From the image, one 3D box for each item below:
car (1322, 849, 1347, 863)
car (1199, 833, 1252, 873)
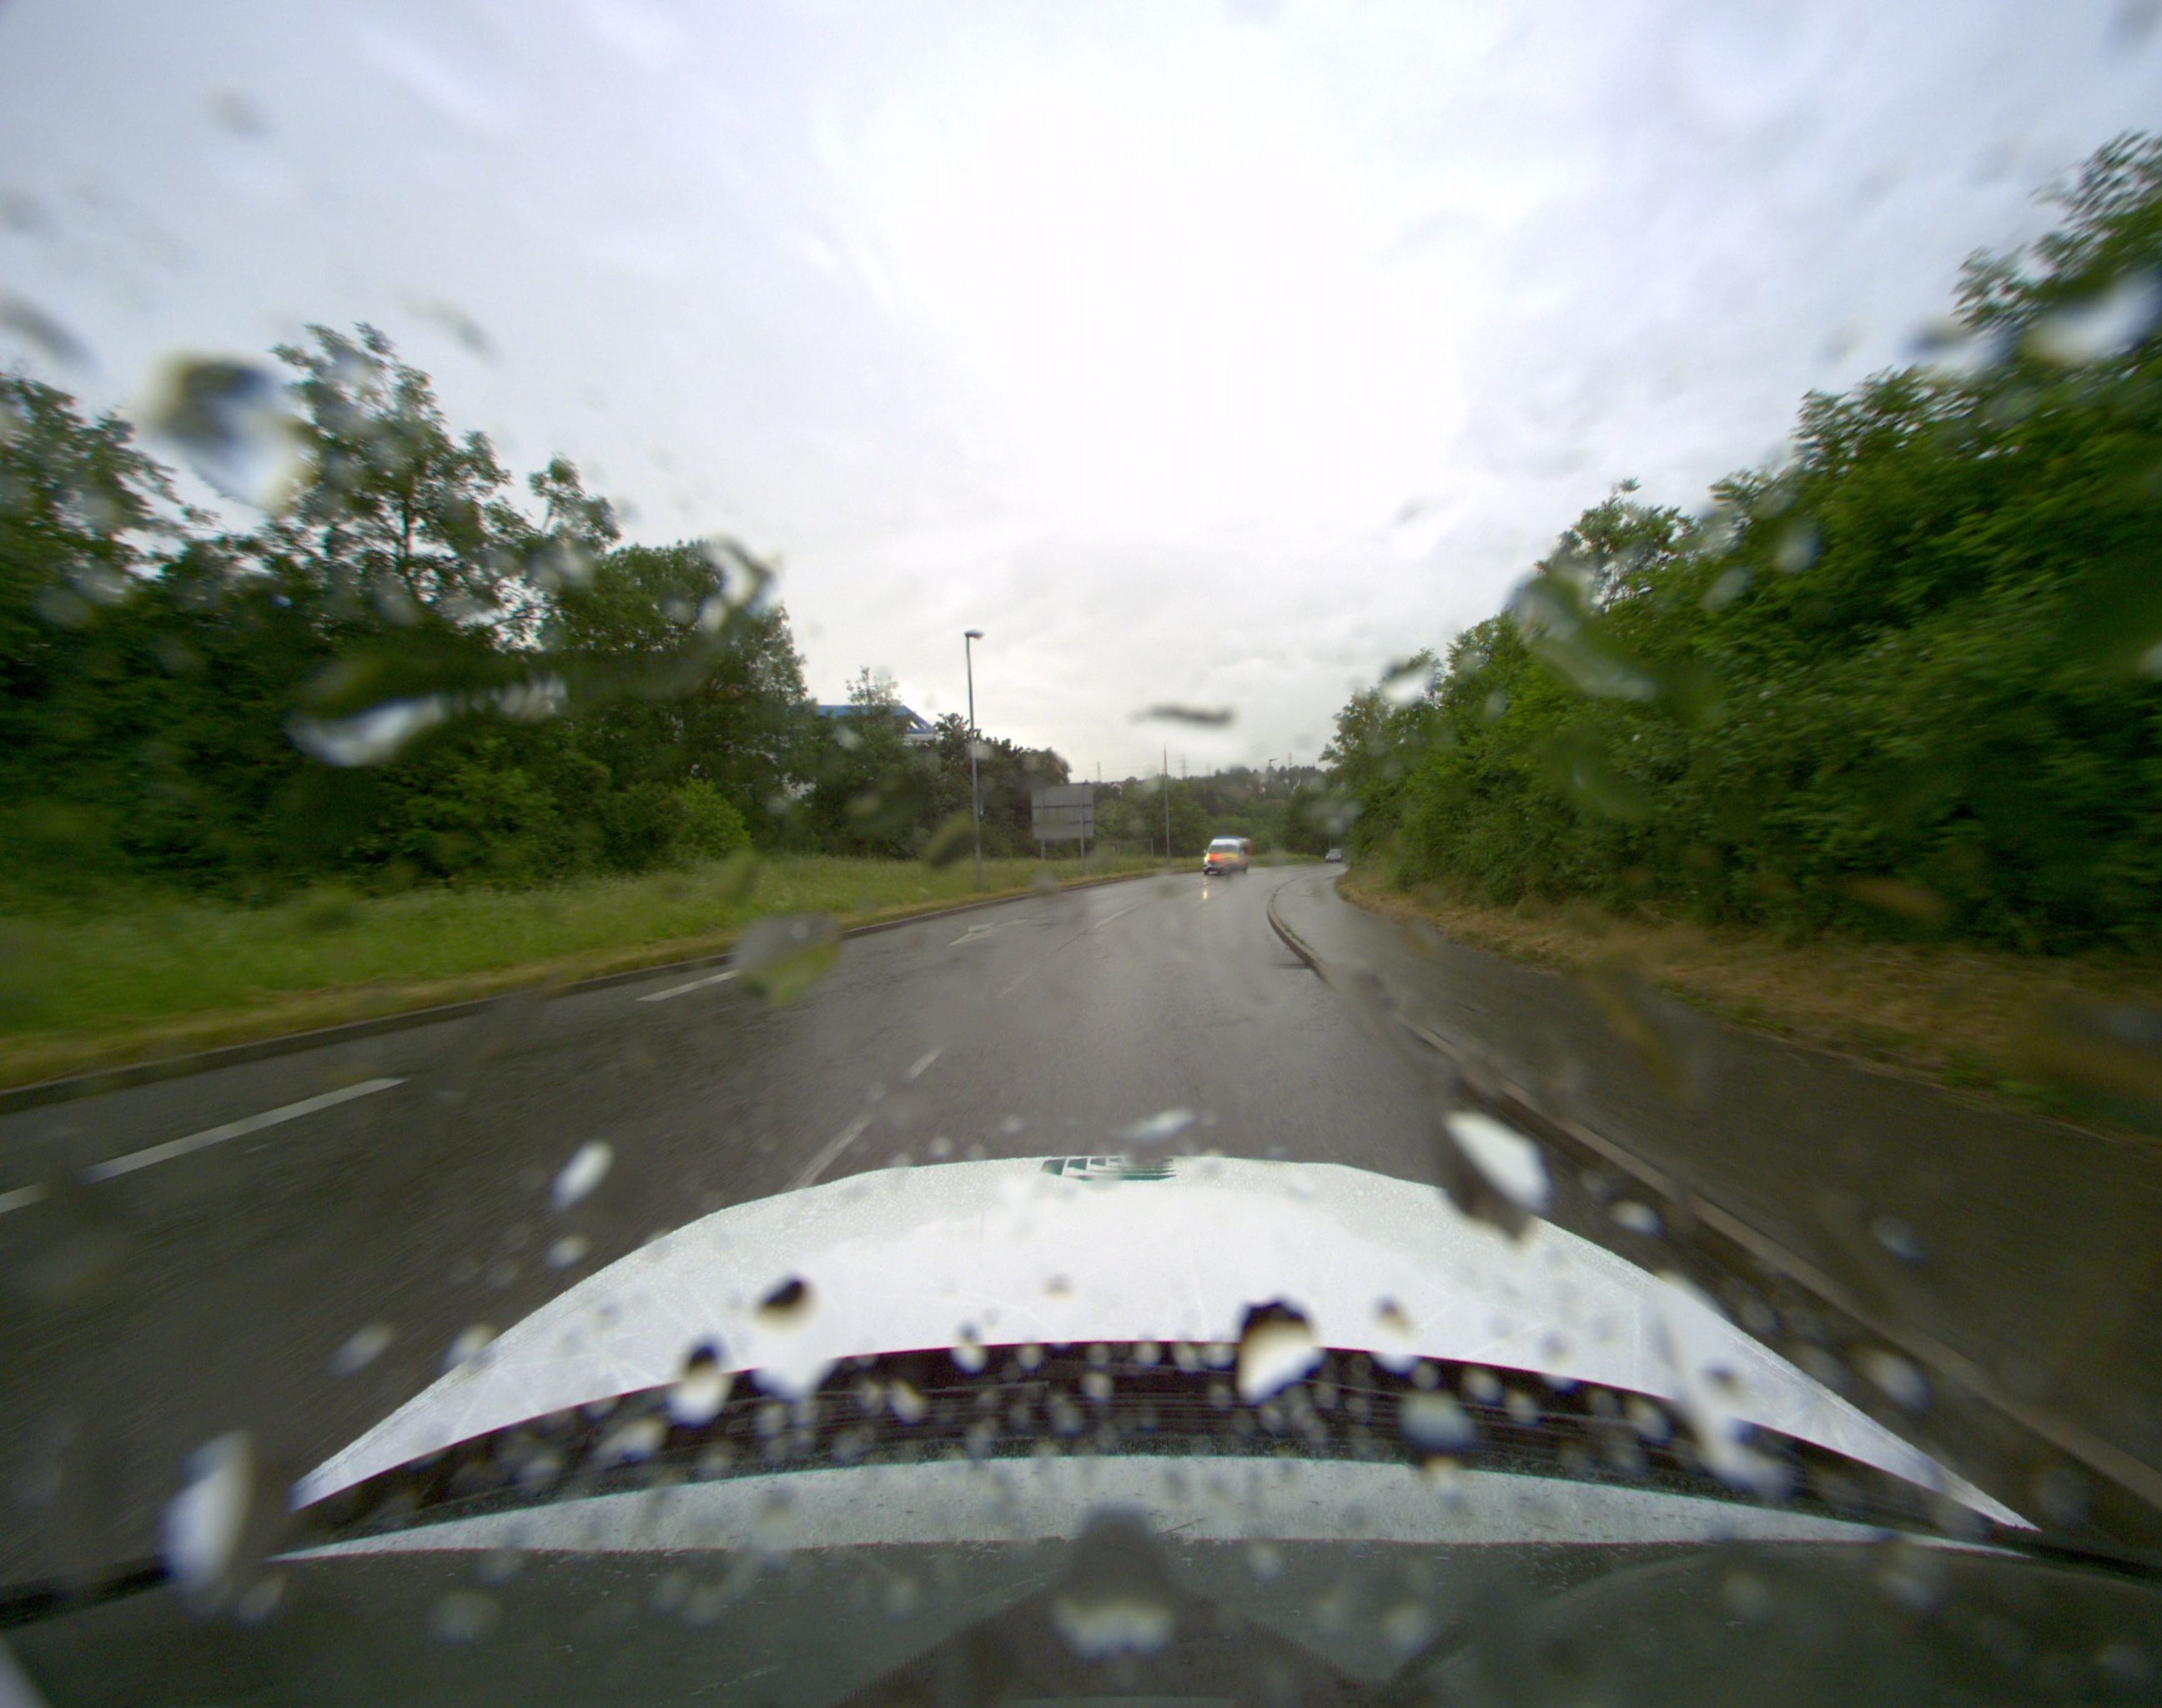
[{"bbox_3d":[28.633,0.239,91.869,1.846,1.552,4.292,1,1,30],"label":"car"},{"bbox_3d":[9.338,-0.053,52.226,2.026,2.417,5.485,1,0,23],"label":"car"}]
